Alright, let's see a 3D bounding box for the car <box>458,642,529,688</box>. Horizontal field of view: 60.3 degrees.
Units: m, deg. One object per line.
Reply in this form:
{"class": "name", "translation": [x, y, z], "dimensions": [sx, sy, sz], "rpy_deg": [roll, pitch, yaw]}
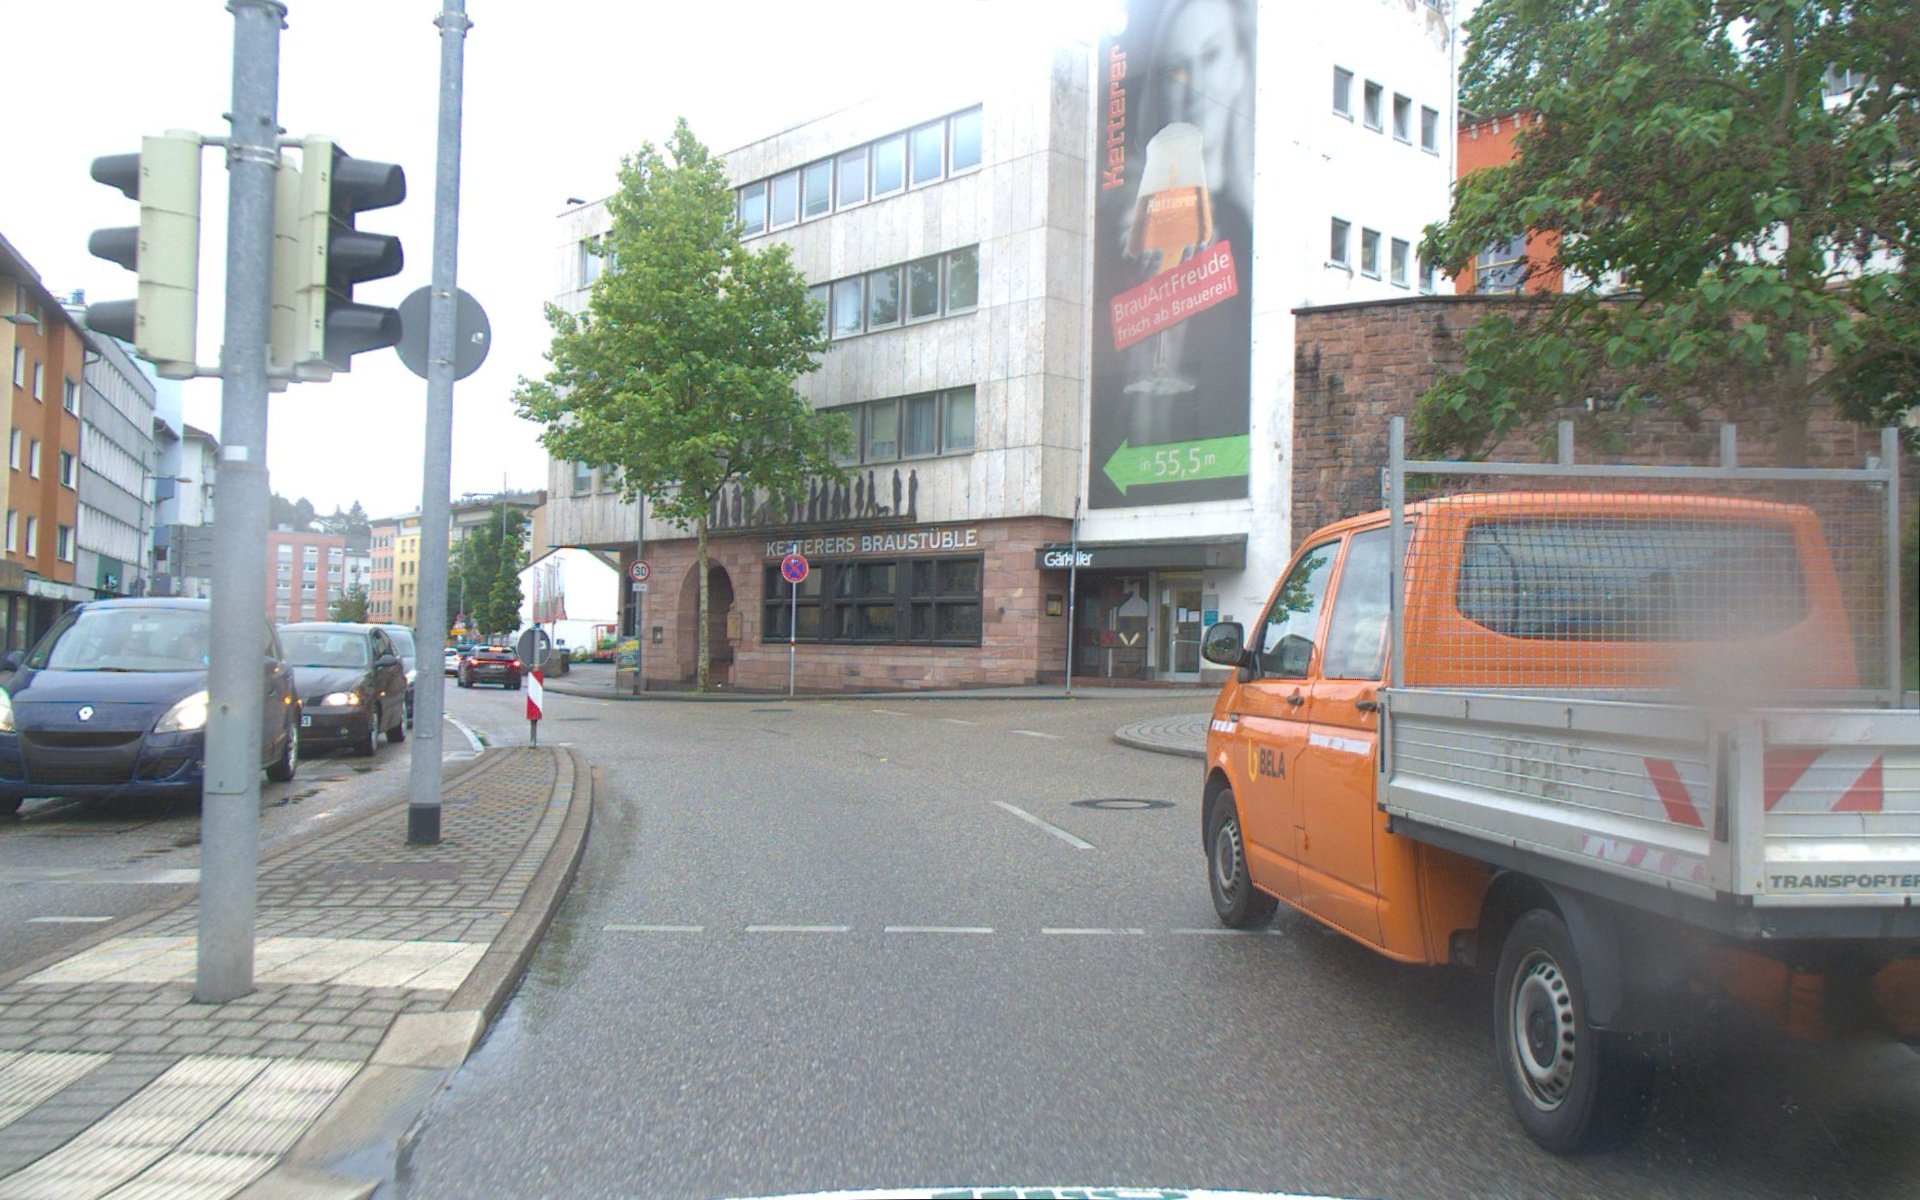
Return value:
{"class": "car", "translation": [-16.083, 2.211, 56.834], "dimensions": [1.765, 1.427, 4.600], "rpy_deg": [-2, -1, -23]}

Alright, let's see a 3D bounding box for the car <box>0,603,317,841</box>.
{"class": "car", "translation": [-6.540, 0.886, 13.635], "dimensions": [1.725, 1.643, 4.196], "rpy_deg": [1, -1, -14]}

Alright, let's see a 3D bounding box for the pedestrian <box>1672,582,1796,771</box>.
{"class": "pedestrian", "translation": [7.317, 0.692, 15.641], "dimensions": [0.946, 1.716, 0.569], "rpy_deg": [0, 2, 41]}

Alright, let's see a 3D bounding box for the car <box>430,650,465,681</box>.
{"class": "car", "translation": [-25.930, 3.298, 83.680], "dimensions": [1.639, 1.421, 3.846], "rpy_deg": [0, -1, -18]}

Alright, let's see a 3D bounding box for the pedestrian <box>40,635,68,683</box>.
{"class": "pedestrian", "translation": [-33.888, 2.212, 61.869], "dimensions": [0.621, 1.705, 0.902], "rpy_deg": [7, -5, -20]}

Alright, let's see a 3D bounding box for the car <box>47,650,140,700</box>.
{"class": "car", "translation": [-25.183, 2.209, 48.197], "dimensions": [1.702, 1.390, 4.087], "rpy_deg": [2, -4, -18]}

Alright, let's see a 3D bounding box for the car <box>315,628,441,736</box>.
{"class": "car", "translation": [-8.741, 1.211, 25.053], "dimensions": [1.618, 1.479, 3.969], "rpy_deg": [2, -2, -18]}

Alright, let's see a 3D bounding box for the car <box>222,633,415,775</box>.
{"class": "car", "translation": [-7.241, 1.104, 18.974], "dimensions": [1.529, 1.422, 3.714], "rpy_deg": [0, -1, -13]}

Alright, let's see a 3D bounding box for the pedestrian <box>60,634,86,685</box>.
{"class": "pedestrian", "translation": [-33.286, 2.235, 62.075], "dimensions": [0.566, 1.820, 0.822], "rpy_deg": [6, -5, -19]}

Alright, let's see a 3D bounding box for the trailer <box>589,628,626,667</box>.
{"class": "trailer", "translation": [-25.442, 3.429, 119.386], "dimensions": [2.094, 2.764, 5.363], "rpy_deg": [0, -1, -17]}

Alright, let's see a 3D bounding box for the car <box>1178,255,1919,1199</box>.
{"class": "car", "translation": [2.458, 0.505, 6.189], "dimensions": [2.061, 2.126, 5.535], "rpy_deg": [3, -2, -5]}
